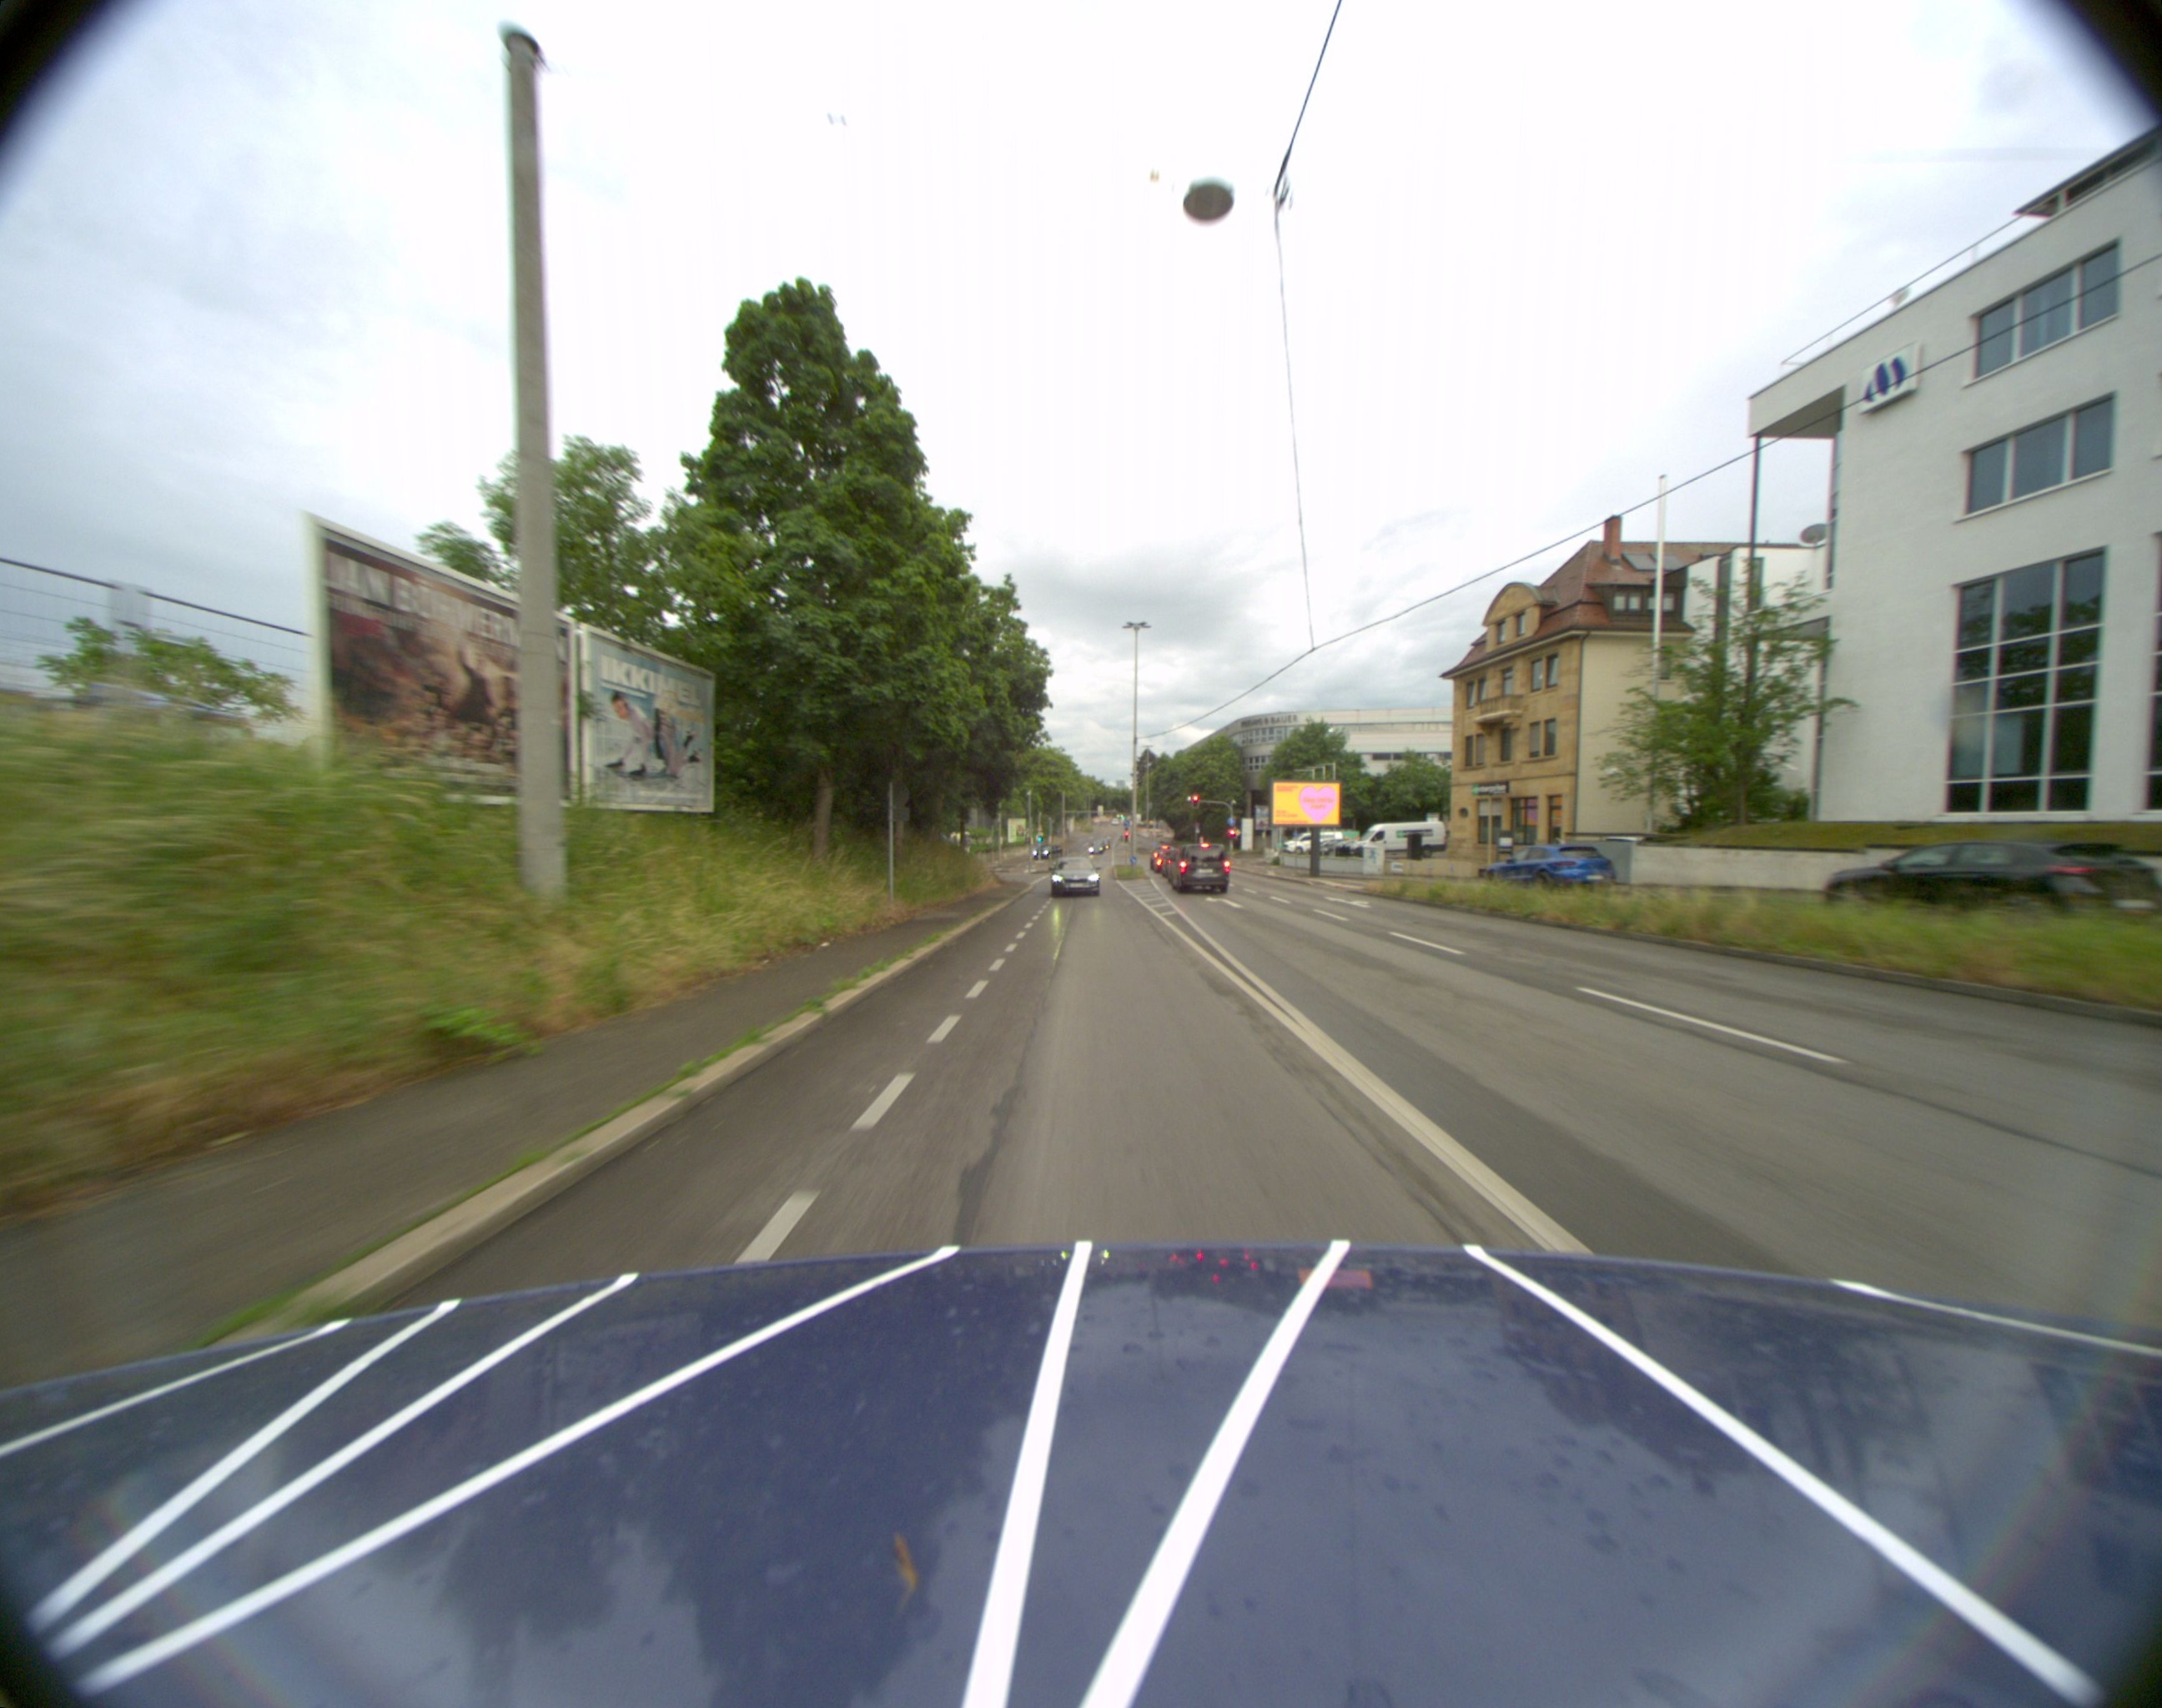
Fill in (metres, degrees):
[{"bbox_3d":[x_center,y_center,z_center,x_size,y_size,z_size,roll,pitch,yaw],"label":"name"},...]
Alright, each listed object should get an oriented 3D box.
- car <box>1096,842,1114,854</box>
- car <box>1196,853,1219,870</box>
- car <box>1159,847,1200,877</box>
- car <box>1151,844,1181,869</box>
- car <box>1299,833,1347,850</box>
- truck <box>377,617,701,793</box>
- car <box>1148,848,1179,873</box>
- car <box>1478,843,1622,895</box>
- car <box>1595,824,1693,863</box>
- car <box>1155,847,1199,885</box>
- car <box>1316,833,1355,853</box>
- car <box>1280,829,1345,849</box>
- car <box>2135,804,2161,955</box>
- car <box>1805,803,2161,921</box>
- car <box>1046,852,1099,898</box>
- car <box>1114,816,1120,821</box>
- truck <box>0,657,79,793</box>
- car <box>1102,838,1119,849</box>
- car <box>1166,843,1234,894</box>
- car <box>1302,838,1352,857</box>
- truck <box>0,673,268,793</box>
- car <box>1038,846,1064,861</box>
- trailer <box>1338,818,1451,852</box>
[{"bbox_3d":[3.182,-0.810,100.125,1.595,1.253,3.758,-3,3,14],"label":"car"},{"bbox_3d":[10.134,0.604,60.991,1.380,1.216,2.452,0,3,0],"label":"car"},{"bbox_3d":[5.760,0.419,44.966,1.959,1.687,4.625,0,1,2],"label":"car"},{"bbox_3d":[6.593,0.153,59.449,1.938,1.808,5.170,0,1,2],"label":"car"},{"bbox_3d":[21.352,-1.114,67.214,3.620,1.361,1.872,-3,2,1],"label":"car"},{"bbox_3d":[-11.092,-2.870,16.459,2.290,2.636,6.050,-6,3,1],"label":"truck"},{"bbox_3d":[5.729,0.431,53.180,1.810,1.522,4.439,0,3,1],"label":"car"},{"bbox_3d":[14.891,0.461,24.485,1.692,1.525,4.671,0,0,-1],"label":"car"},{"bbox_3d":[24.838,-0.486,33.577,3.051,1.666,1.714,0,3,-3],"label":"car"},{"bbox_3d":[4.739,0.547,38.063,1.692,1.596,4.726,0,3,1],"label":"car"},{"bbox_3d":[20.533,-0.882,61.269,2.684,1.417,1.227,-3,2,1],"label":"car"},{"bbox_3d":[21.769,-1.415,71.488,5.371,1.792,2.218,0,3,-6],"label":"car"},{"bbox_3d":[11.288,0.235,5.322,1.651,1.469,4.443,0,0,0],"label":"car"},{"bbox_3d":[15.154,0.128,13.029,1.615,1.711,3.993,0,0,-1],"label":"car"},{"bbox_3d":[-0.277,0.741,28.970,1.811,1.509,4.052,-3,0,0],"label":"car"},{"bbox_3d":[10.121,-9.893,213.309,1.532,1.308,3.230,0,3,5],"label":"car"},{"bbox_3d":[-26.749,-2.734,15.880,7.731,2.841,2.585,0,3,-2],"label":"truck"},{"bbox_3d":[4.486,-1.640,114.965,1.751,1.363,3.758,-3,3,14],"label":"car"},{"bbox_3d":[4.639,0.510,30.256,2.019,1.856,5.041,0,1,1],"label":"car"},{"bbox_3d":[20.755,-0.531,64.136,3.620,1.361,1.741,-3,2,1],"label":"car"},{"bbox_3d":[-26.610,-3.044,19.783,7.757,2.800,2.585,0,3,-2],"label":"truck"},{"bbox_3d":[-3.634,-0.049,92.710,1.950,1.535,4.213,-3,3,14],"label":"car"},{"bbox_3d":[22.351,-1.396,54.411,7.115,2.415,2.394,0,3,0],"label":"trailer"}]
